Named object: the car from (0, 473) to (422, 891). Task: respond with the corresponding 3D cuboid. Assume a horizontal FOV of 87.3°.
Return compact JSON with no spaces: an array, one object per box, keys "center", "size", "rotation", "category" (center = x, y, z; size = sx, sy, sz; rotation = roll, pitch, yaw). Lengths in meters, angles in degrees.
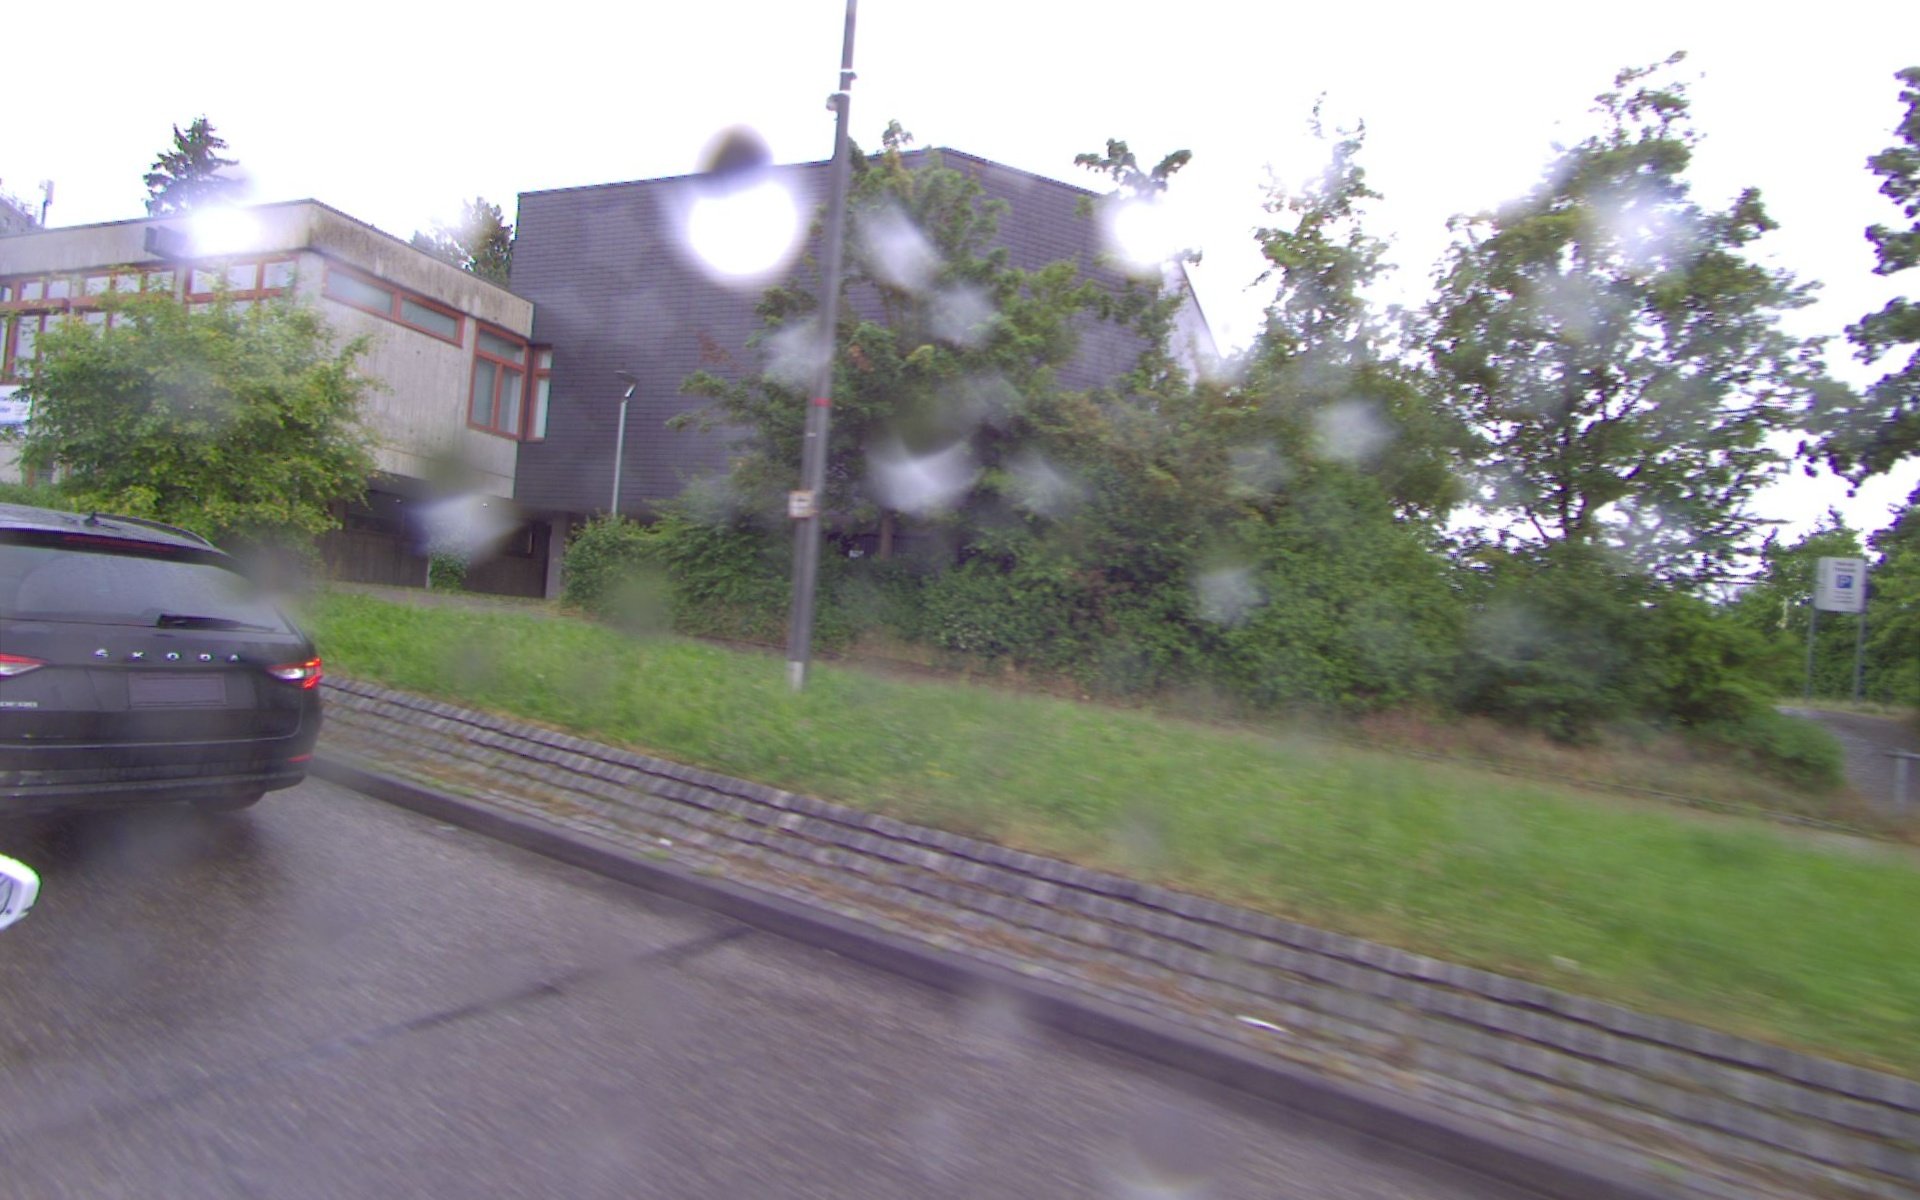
[{"center":[-5.227,0.172,5.233],"size":[4.529,1.523,1.961],"rotation":[6,-4,28],"category":"car"}]
